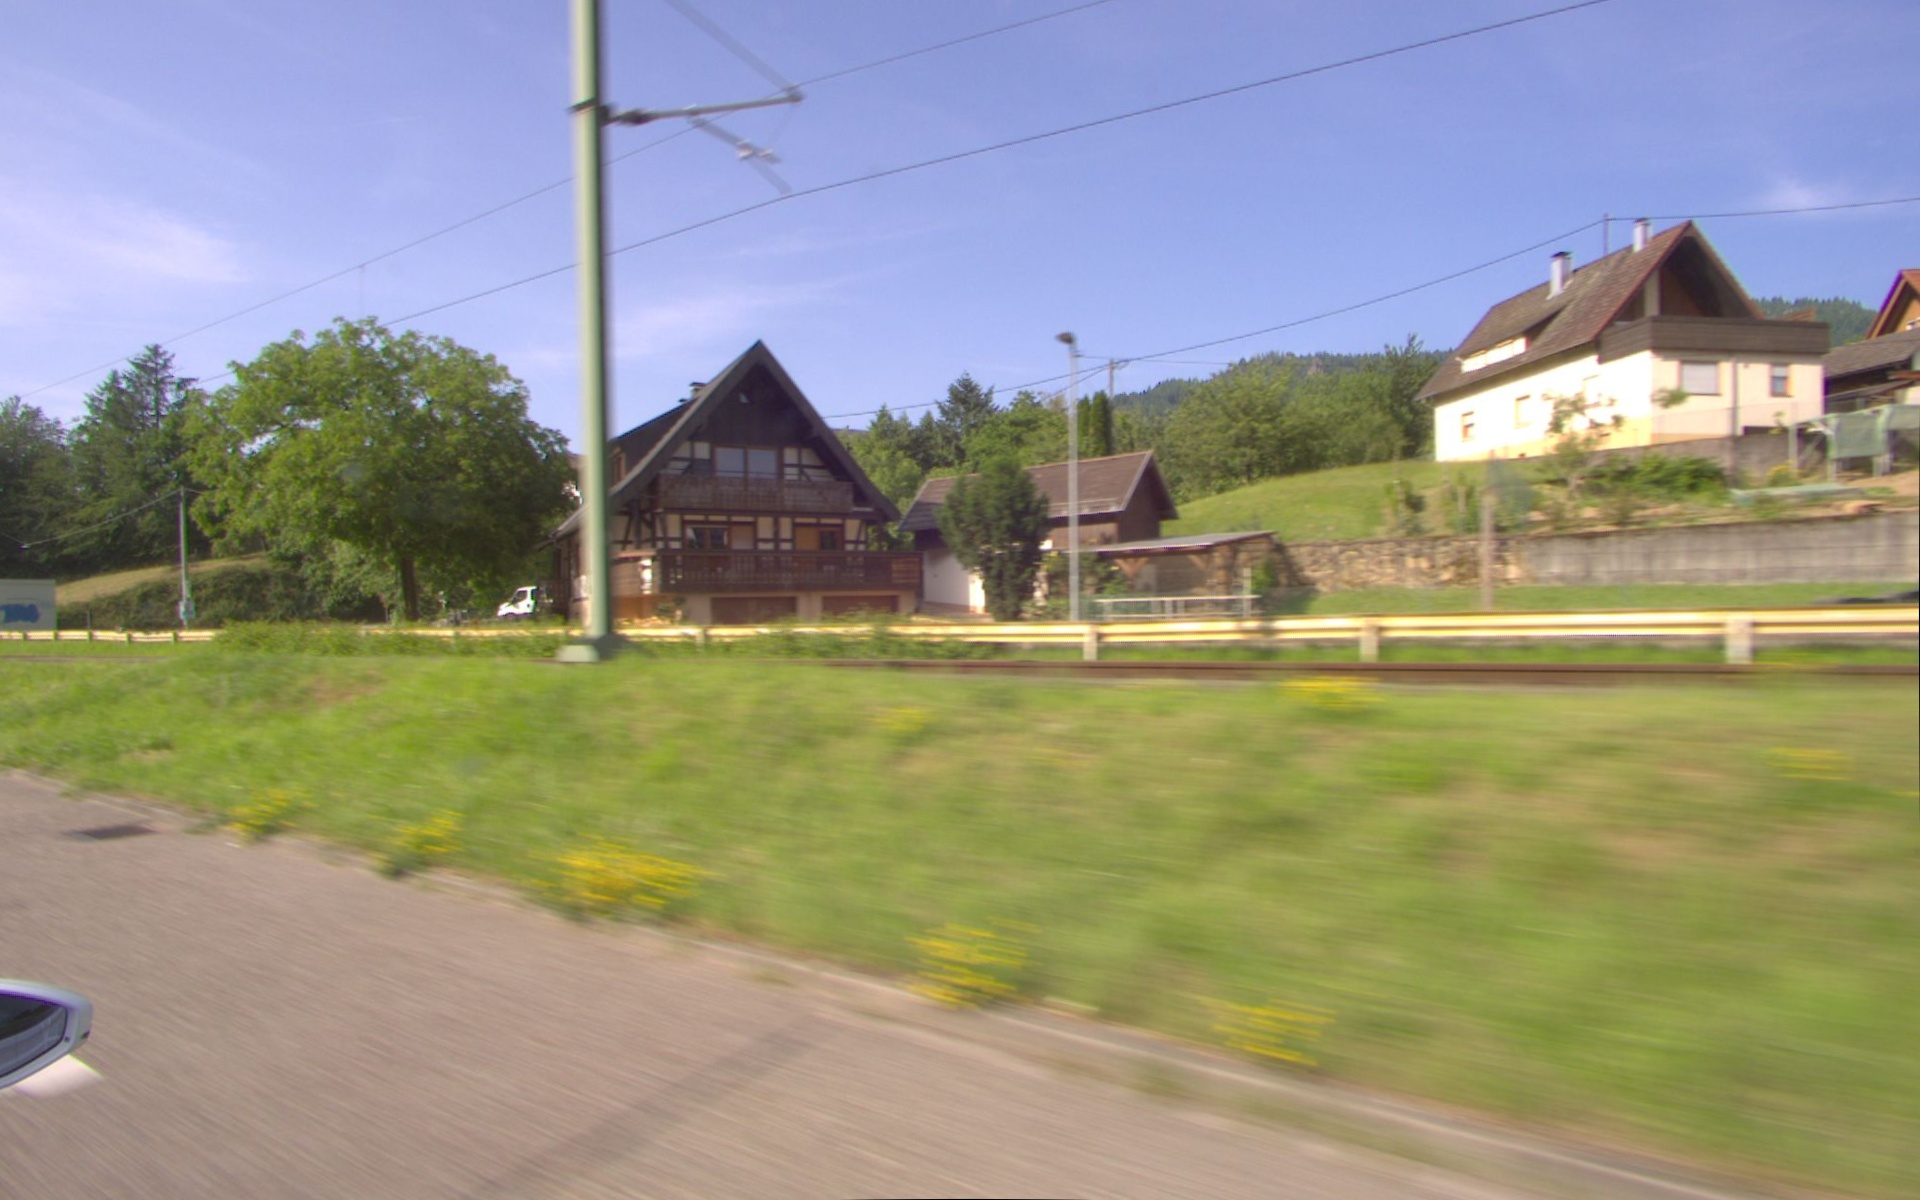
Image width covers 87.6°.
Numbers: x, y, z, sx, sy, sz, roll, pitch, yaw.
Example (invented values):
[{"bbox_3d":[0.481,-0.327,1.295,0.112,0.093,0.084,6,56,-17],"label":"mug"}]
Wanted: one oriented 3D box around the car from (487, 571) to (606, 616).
[{"bbox_3d":[-24.336,-0.410,59.078,5.918,2.363,2.382,-2,2,-1],"label":"car"}]
